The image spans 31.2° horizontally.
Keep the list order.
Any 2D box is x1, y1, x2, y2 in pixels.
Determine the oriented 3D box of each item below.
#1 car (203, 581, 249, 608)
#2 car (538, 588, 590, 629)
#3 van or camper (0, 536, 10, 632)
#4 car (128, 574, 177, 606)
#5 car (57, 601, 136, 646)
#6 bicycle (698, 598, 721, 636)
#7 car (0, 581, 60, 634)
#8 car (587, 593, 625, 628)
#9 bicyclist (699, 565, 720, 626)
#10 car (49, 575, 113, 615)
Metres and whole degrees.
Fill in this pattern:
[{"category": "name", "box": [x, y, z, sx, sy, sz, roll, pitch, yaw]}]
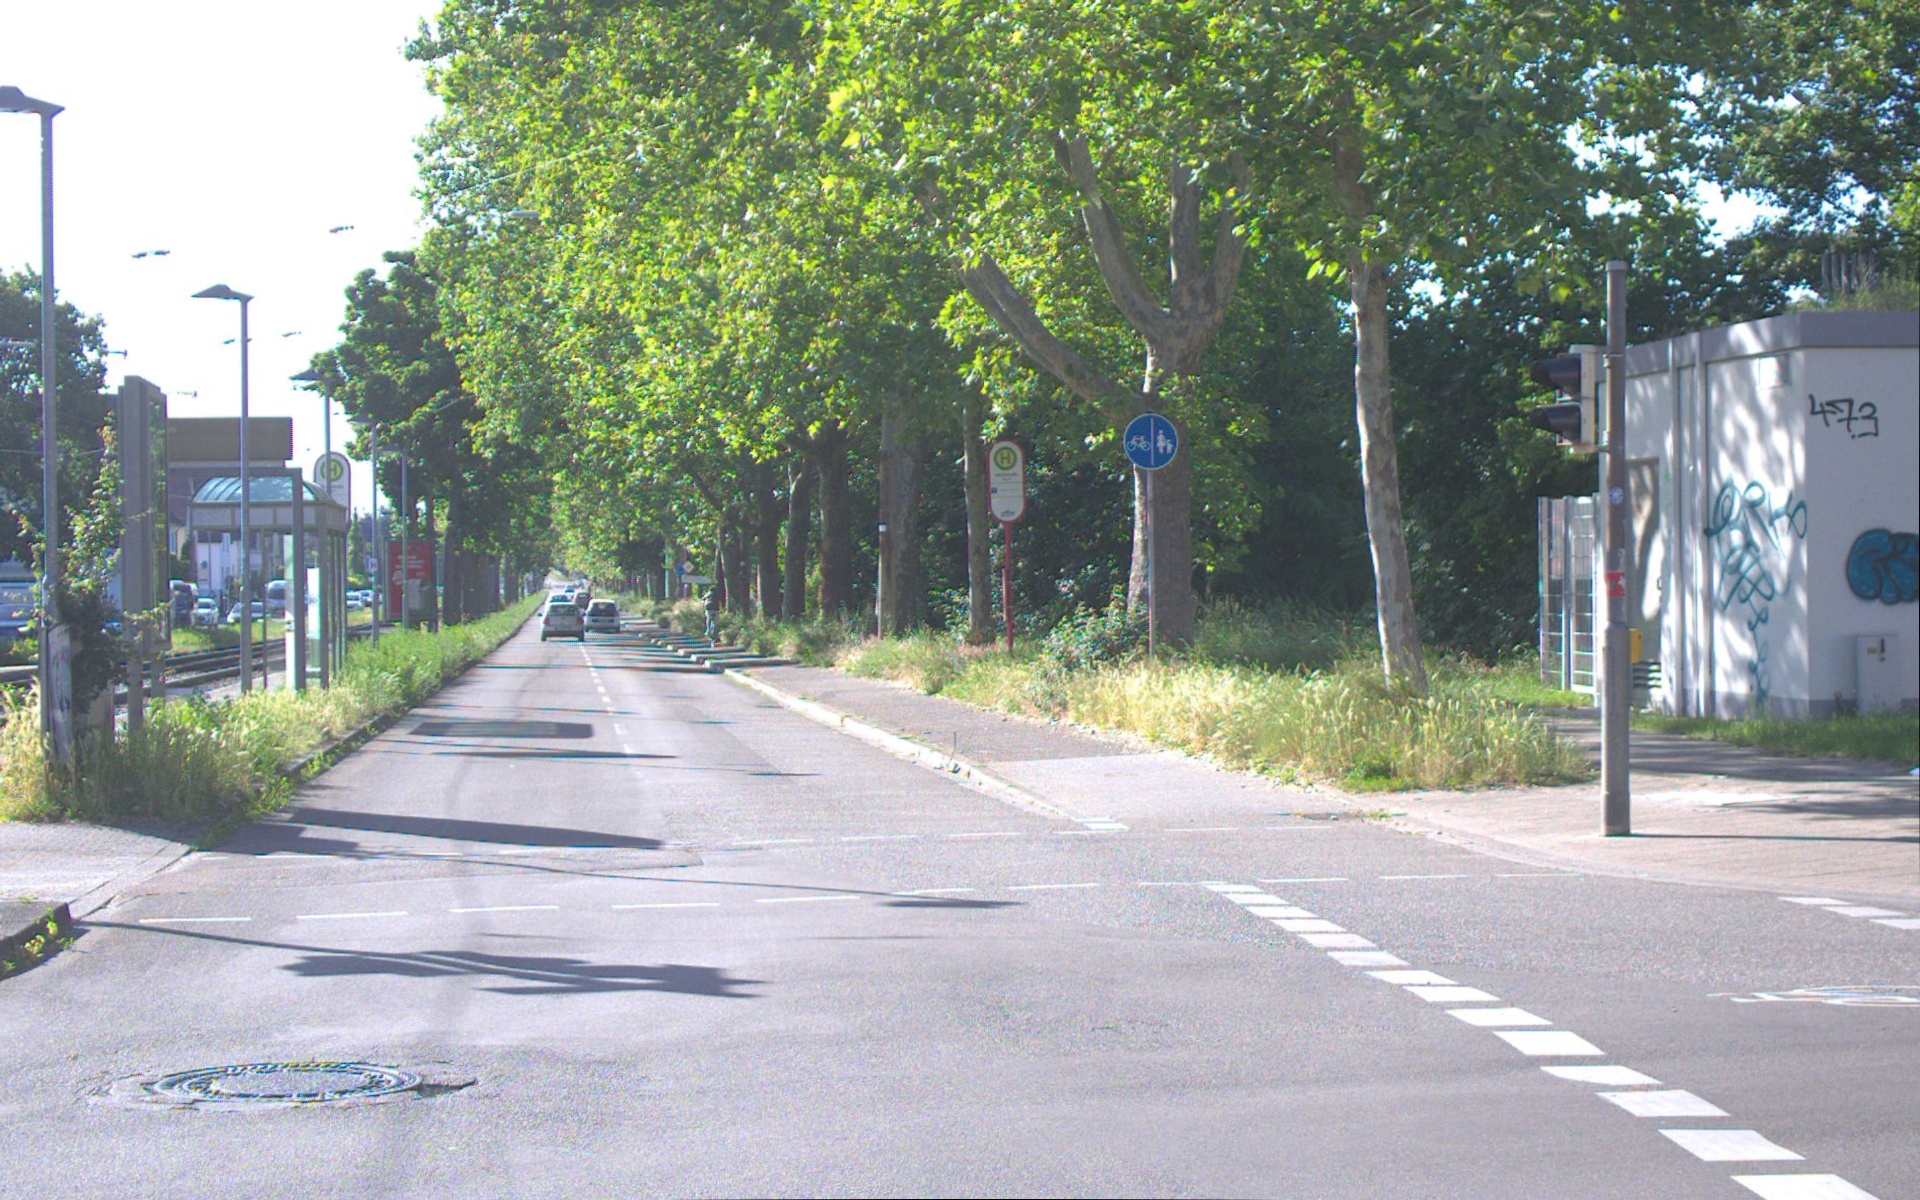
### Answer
[{"category": "car", "box": [-39.907, -0.311, 186.953, 1.920, 1.433, 4.001, -1, 1, -5]}, {"category": "car", "box": [-14.756, 0.309, 128.184, 1.867, 1.481, 3.556, 0, 0, -6]}, {"category": "van or camper", "box": [-32.107, -0.481, 109.266, 2.589, 3.095, 6.790, -1, 1, -7]}, {"category": "car", "box": [-38.791, -0.501, 165.219, 1.744, 1.491, 3.593, -1, 1, -5]}, {"category": "car", "box": [-29.556, 0.789, 117.825, 1.993, 1.464, 4.377, 0, 0, -6]}, {"category": "bicycle", "box": [-7.307, 0.489, 100.247, 0.536, 1.062, 1.434, -1, 1, -8]}, {"category": "car", "box": [-26.664, 0.203, 96.875, 1.993, 1.464, 4.377, 0, 0, -8]}, {"category": "car", "box": [-16.840, 0.494, 163.275, 1.750, 1.599, 3.751, 0, 1, -6]}, {"category": "bicyclist", "box": [-7.321, -0.138, 100.298, 0.534, 1.764, 0.713, -1, 0, -8]}, {"category": "car", "box": [-36.202, -0.220, 141.680, 1.920, 1.571, 4.001, -1, 1, -5]}]
